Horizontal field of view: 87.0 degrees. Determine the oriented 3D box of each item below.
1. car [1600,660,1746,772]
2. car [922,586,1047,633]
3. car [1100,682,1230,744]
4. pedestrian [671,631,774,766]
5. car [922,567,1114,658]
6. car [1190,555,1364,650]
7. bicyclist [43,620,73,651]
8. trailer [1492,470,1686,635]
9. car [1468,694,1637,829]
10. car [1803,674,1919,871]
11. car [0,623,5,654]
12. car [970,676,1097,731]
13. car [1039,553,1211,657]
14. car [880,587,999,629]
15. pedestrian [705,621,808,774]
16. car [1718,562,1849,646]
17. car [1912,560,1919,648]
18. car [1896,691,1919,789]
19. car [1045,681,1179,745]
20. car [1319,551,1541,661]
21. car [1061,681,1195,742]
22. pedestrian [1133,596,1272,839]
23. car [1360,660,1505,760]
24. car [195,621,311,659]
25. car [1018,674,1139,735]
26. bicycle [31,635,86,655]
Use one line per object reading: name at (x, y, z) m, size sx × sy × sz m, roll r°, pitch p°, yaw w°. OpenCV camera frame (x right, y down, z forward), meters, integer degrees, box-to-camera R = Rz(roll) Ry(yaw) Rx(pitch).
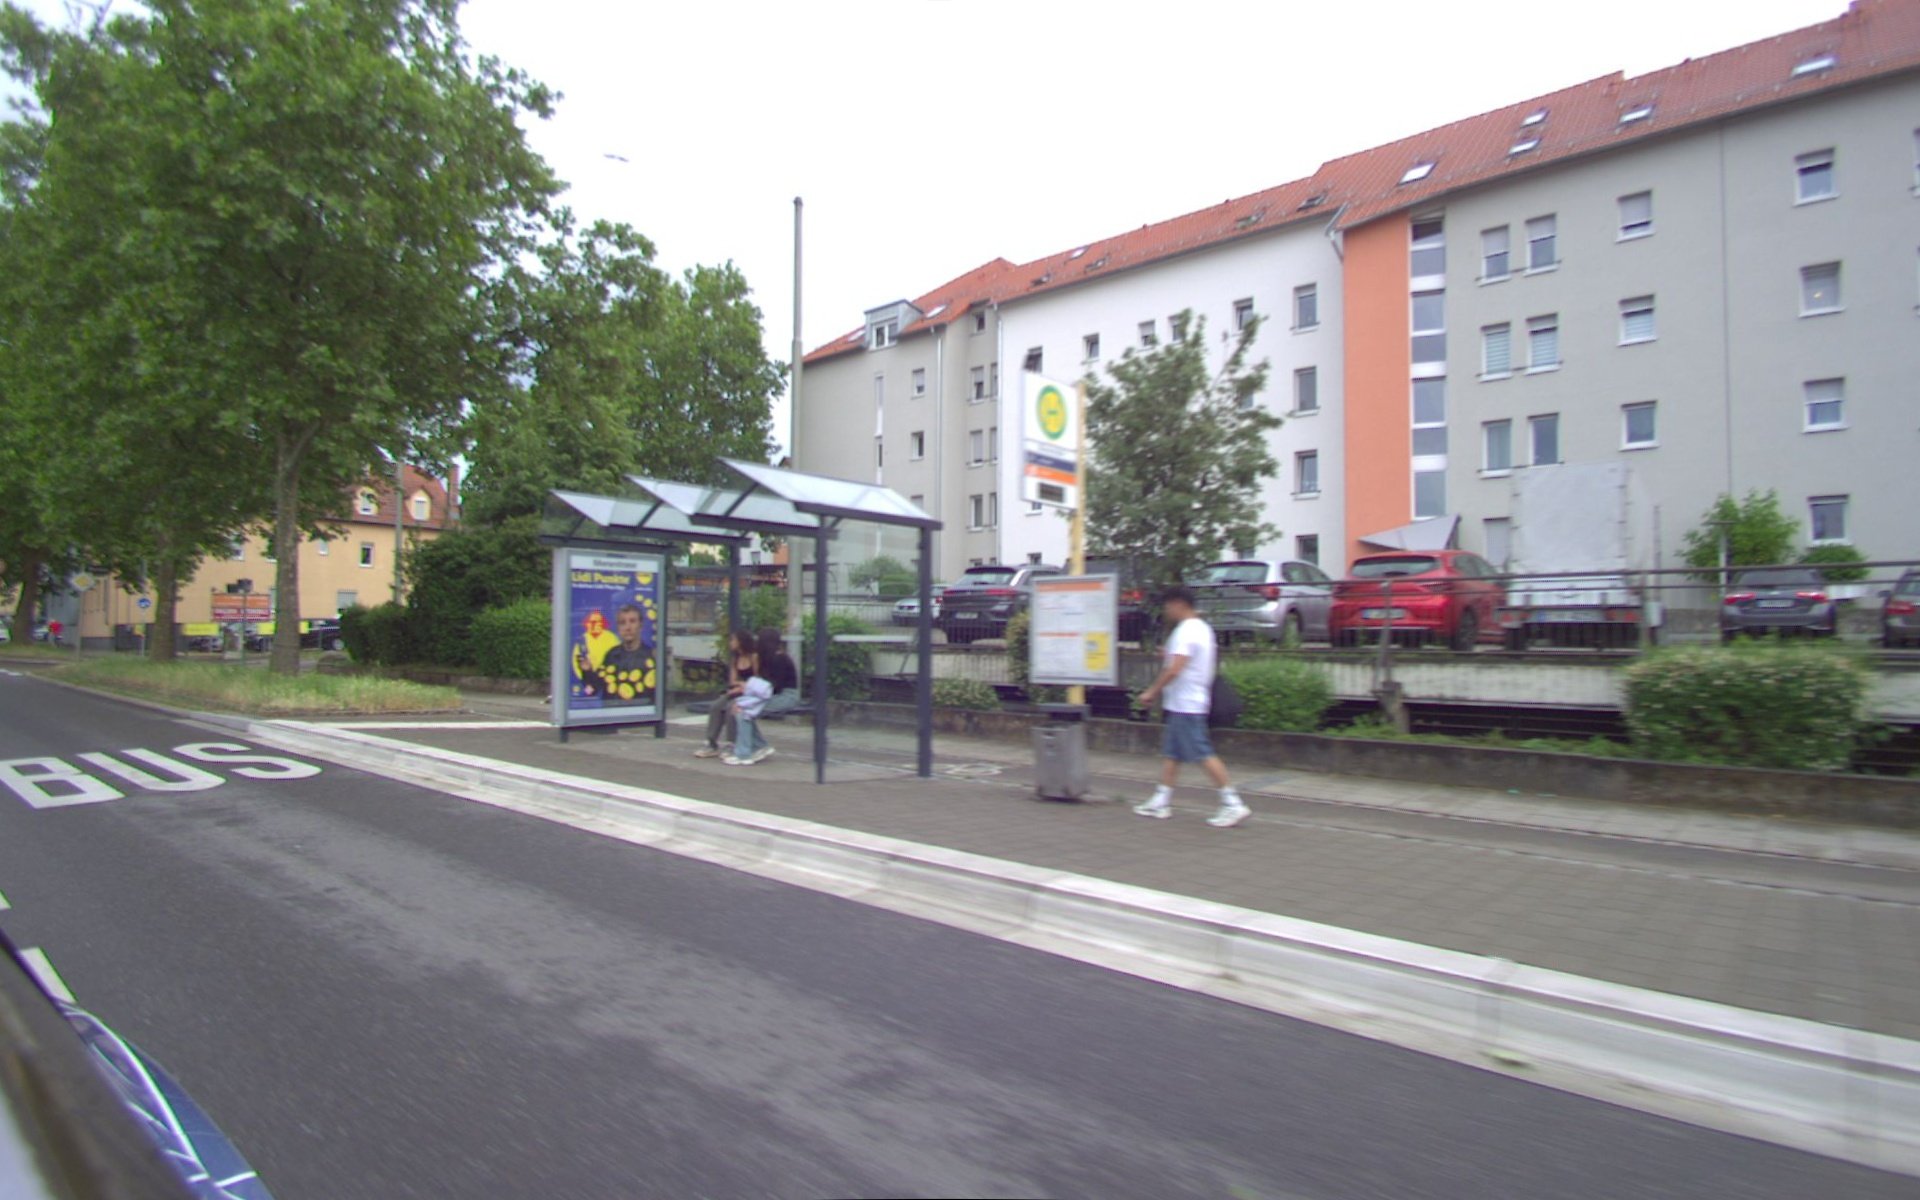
car at (15.047, 2.323, 21.276) m, size 1.943 × 2.029 × 3.863 m, roll -2°, pitch -3°, yaw 44°
car at (0.834, 0.279, 32.392) m, size 1.849 × 1.425 × 3.943 m, roll 0°, pitch 0°, yaw 43°
car at (5.940, 3.199, 29.128) m, size 1.887 × 1.407 × 3.943 m, roll -2°, pitch -2°, yaw 43°
pedestrian at (-2.488, 1.017, 10.622) m, size 0.641 × 1.327 × 0.766 m, roll 0°, pitch -3°, yaw 44°
car at (1.166, 0.200, 18.888) m, size 1.894 × 1.509 × 3.619 m, roll 0°, pitch 0°, yaw 37°
car at (4.875, 0.030, 15.357) m, size 1.436 × 1.279 × 3.098 m, roll 0°, pitch 0°, yaw 40°
bicyclist at (-46.618, 1.849, 52.317) m, size 0.804 × 1.564 × 0.836 m, roll 0°, pitch 0°, yaw -5°
trailer at (7.297, -0.462, 11.663) m, size 1.479 × 1.658 × 2.676 m, roll -1°, pitch -1°, yaw 41°
car at (9.179, 2.347, 15.539) m, size 1.589 × 1.415 × 3.928 m, roll 0°, pitch 0°, yaw 40°
car at (10.262, 1.746, 10.933) m, size 1.704 × 1.710 × 3.473 m, roll -2°, pitch -2°, yaw 40°
car at (-50.850, 1.996, 52.253) m, size 4.348 × 1.563 × 1.767 m, roll -1°, pitch -2°, yaw 40°
car at (2.408, 3.251, 32.392) m, size 2.065 × 1.407 × 3.943 m, roll -2°, pitch -2°, yaw 43°
car at (2.794, 0.068, 16.794) m, size 1.436 × 1.554 × 3.098 m, roll 0°, pitch 0°, yaw 40°
car at (-0.640, 0.261, 34.041) m, size 1.745 × 1.328 × 3.943 m, roll 1°, pitch 0°, yaw 43°
pedestrian at (-2.019, 0.950, 10.057) m, size 0.641 × 1.429 × 0.680 m, roll 0°, pitch -4°, yaw 44°
car at (15.544, 0.065, 19.050) m, size 1.718 × 1.415 × 3.480 m, roll 0°, pitch 0°, yaw 42°
car at (17.193, 0.069, 16.972) m, size 1.718 × 1.415 × 3.480 m, roll 0°, pitch 0°, yaw 42°
car at (17.964, 2.519, 18.130) m, size 1.718 × 1.415 × 3.480 m, roll 0°, pitch 0°, yaw 42°
car at (4.563, 3.281, 30.041) m, size 2.065 × 1.407 × 3.943 m, roll 0°, pitch 0°, yaw 43°
car at (6.682, 0.063, 14.168) m, size 1.809 × 1.312 × 4.046 m, roll 0°, pitch 0°, yaw 40°
car at (5.003, 3.211, 29.782) m, size 2.065 × 1.407 × 3.943 m, roll -2°, pitch -2°, yaw 43°
pedestrian at (1.735, 0.805, 7.209) m, size 0.607 × 1.610 × 0.733 m, roll 0°, pitch -5°, yaw 44°
car at (11.355, 2.532, 24.215) m, size 2.000 × 2.029 × 3.943 m, roll -2°, pitch -2°, yaw 43°
car at (-33.638, 1.873, 48.238) m, size 1.980 × 1.550 × 4.166 m, roll 0°, pitch 1°, yaw 39°
car at (3.674, 3.131, 30.951) m, size 1.685 × 1.518 × 3.943 m, roll -2°, pitch -2°, yaw 43°
bicycle at (-46.589, 2.341, 52.326) m, size 2.231 × 1.003 × 0.557 m, roll 0°, pitch 0°, yaw -5°
